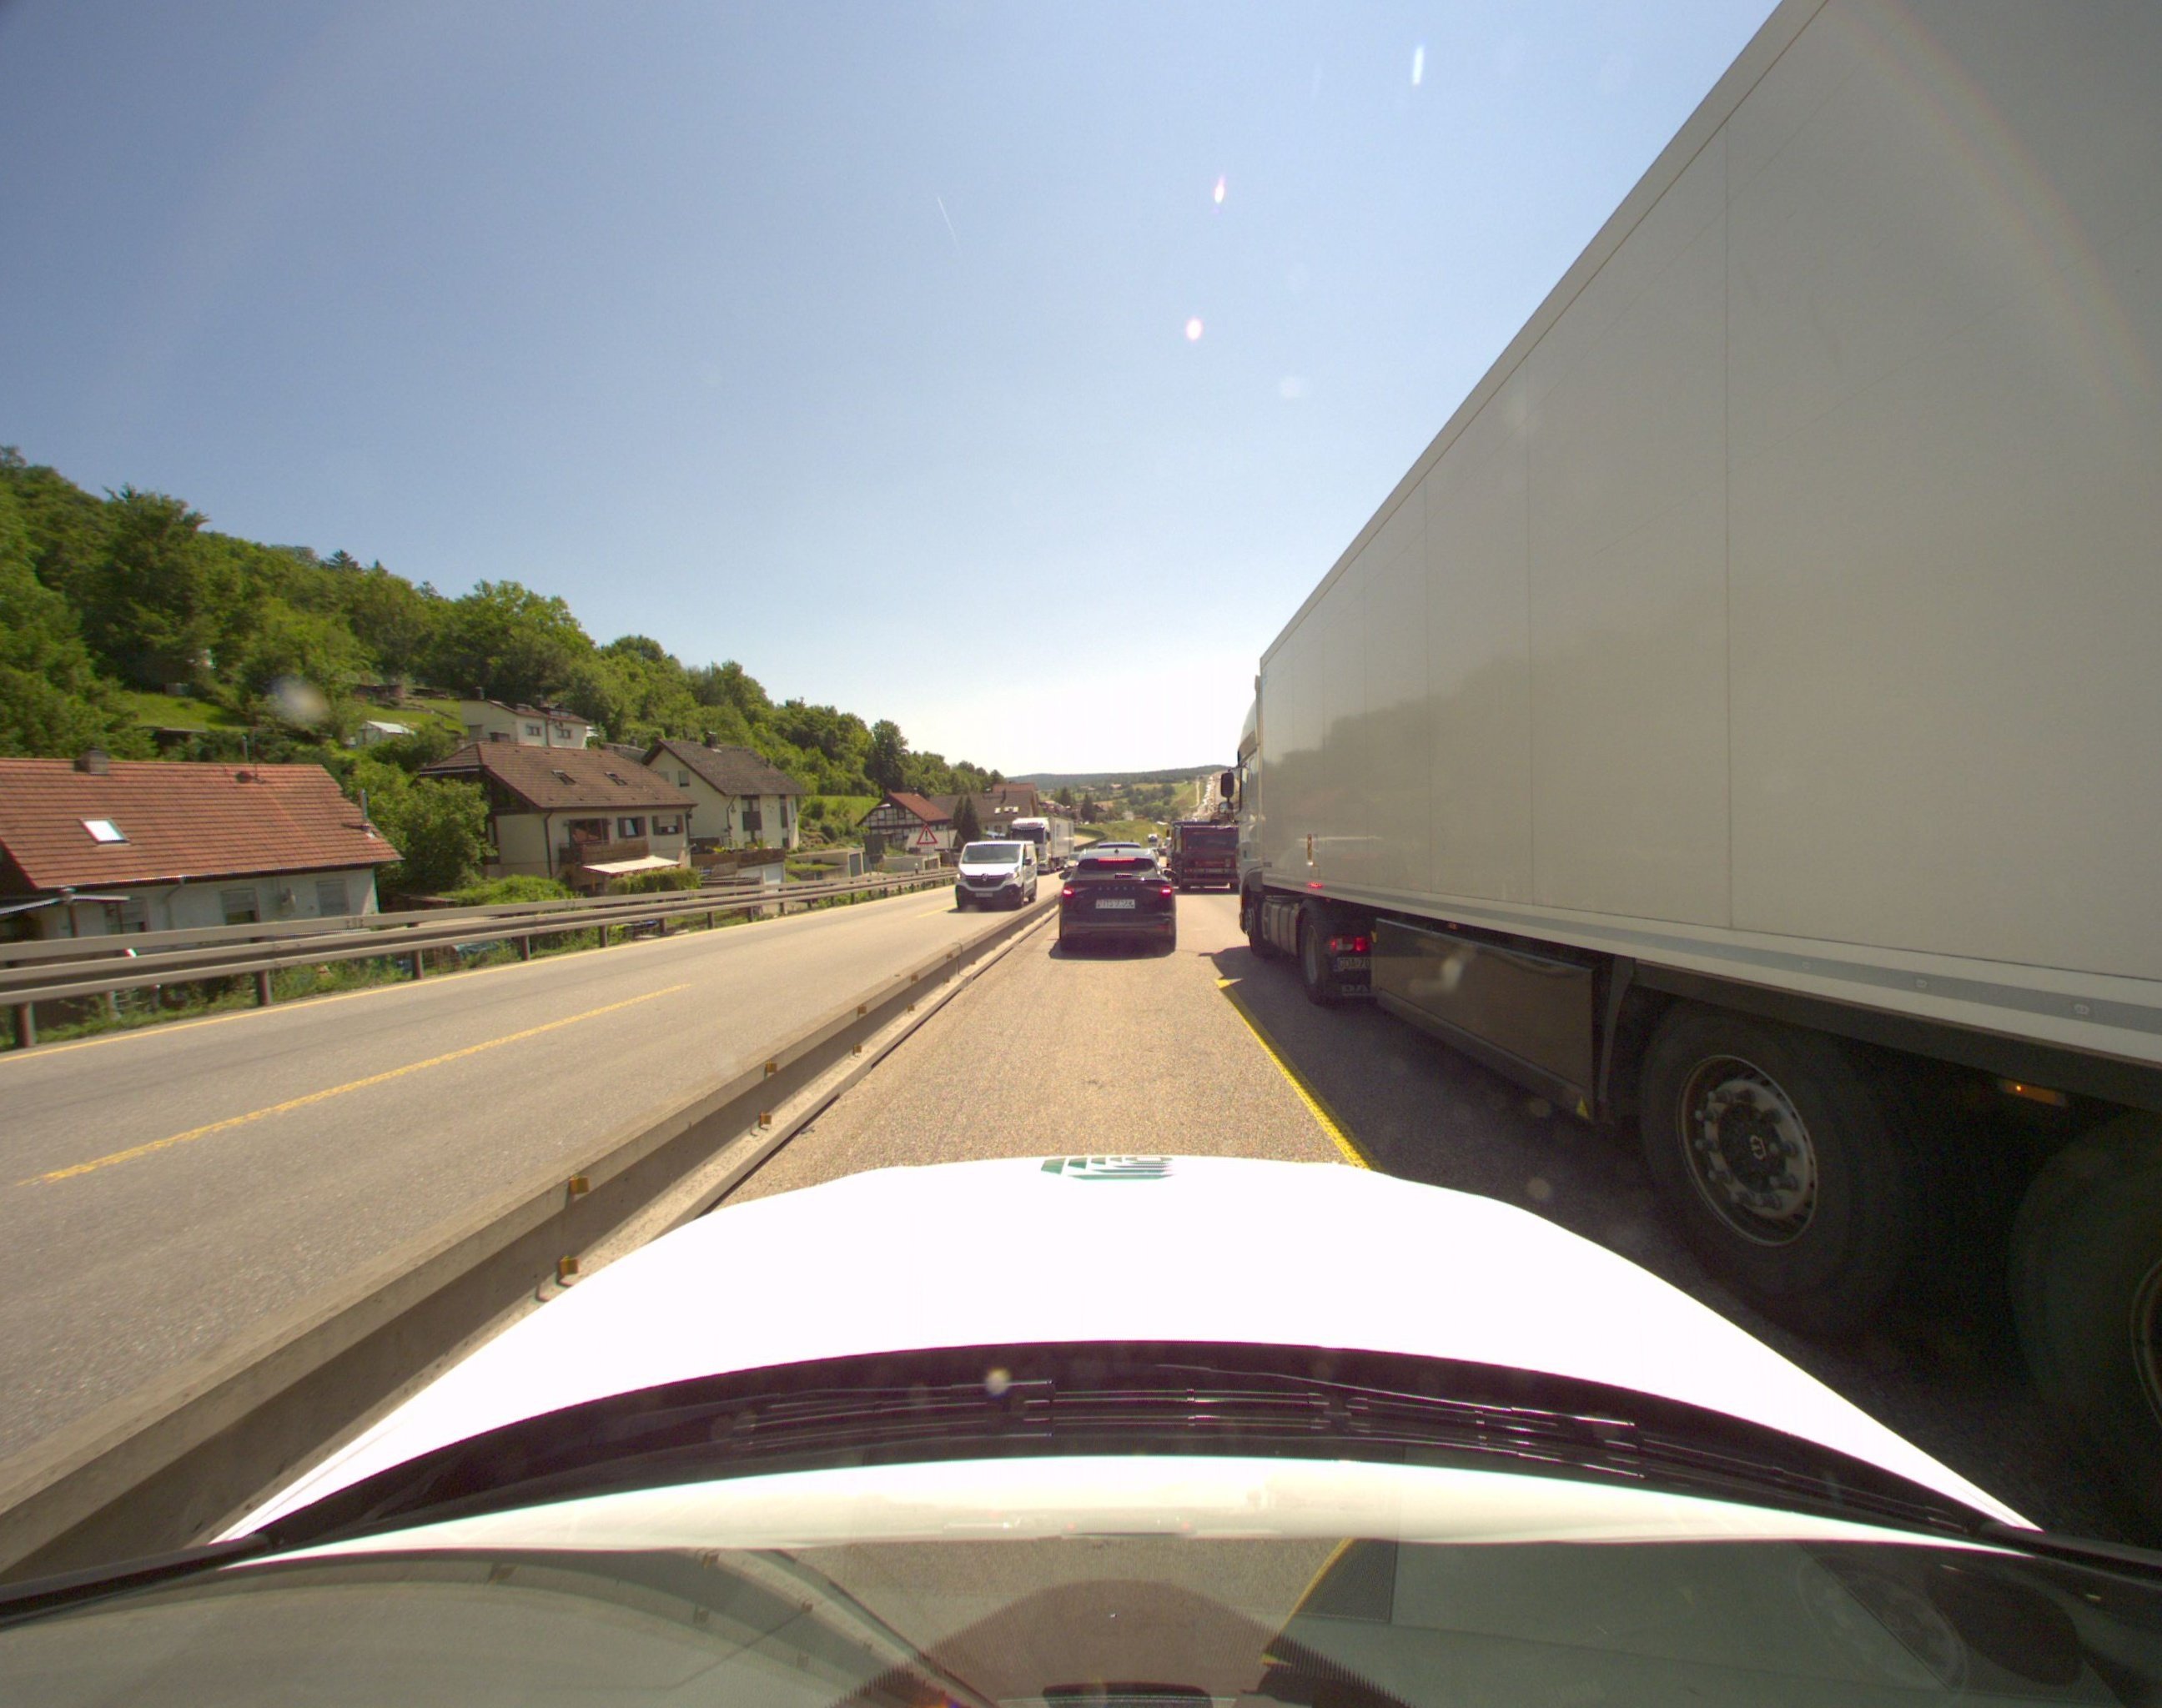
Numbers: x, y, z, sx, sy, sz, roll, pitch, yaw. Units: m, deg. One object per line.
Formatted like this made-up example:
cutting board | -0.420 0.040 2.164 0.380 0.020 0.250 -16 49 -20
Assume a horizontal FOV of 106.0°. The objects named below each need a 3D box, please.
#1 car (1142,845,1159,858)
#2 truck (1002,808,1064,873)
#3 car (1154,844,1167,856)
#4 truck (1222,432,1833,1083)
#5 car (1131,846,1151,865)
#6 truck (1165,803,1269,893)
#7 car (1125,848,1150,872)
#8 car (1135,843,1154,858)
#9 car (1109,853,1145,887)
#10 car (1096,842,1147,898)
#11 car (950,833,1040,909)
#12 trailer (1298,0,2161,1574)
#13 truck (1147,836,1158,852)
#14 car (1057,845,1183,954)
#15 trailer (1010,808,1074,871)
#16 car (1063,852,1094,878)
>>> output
car | 8.457 -0.308 98.911 1.984 1.585 3.841 0 0 5
truck | -3.311 -0.857 58.436 3.288 4.362 8.311 0 -1 4
car | 11.676 -0.551 119.671 1.691 1.728 3.846 0 -1 9
truck | 3.459 -0.571 9.153 2.504 4.025 8.239 0 -1 1
car | 5.422 0.113 73.671 1.699 1.622 4.005 0 1 4
truck | 5.503 -0.164 35.388 3.181 3.191 12.821 -1 0 4
car | 4.007 0.387 57.555 1.699 1.622 4.005 0 1 4
car | 6.651 -0.345 84.910 1.984 1.585 3.841 0 0 5
car | 2.414 0.805 43.420 1.701 1.622 4.001 0 1 0
car | 1.397 0.511 29.359 1.701 1.881 4.001 0 1 0
car | -2.464 0.470 24.579 1.986 2.011 4.860 -2 -1 2
trailer | 3.283 -0.723 2.272 2.522 4.127 11.550 0 0 1
truck | 19.031 -2.572 216.696 2.737 4.283 4.968 0 1 7
car | 0.587 0.673 13.813 1.836 1.586 3.907 0 0 0
trailer | -2.788 -0.946 64.098 3.237 4.378 14.076 0 0 5
car | -0.125 0.690 52.049 1.838 1.574 4.002 -1 -1 2
